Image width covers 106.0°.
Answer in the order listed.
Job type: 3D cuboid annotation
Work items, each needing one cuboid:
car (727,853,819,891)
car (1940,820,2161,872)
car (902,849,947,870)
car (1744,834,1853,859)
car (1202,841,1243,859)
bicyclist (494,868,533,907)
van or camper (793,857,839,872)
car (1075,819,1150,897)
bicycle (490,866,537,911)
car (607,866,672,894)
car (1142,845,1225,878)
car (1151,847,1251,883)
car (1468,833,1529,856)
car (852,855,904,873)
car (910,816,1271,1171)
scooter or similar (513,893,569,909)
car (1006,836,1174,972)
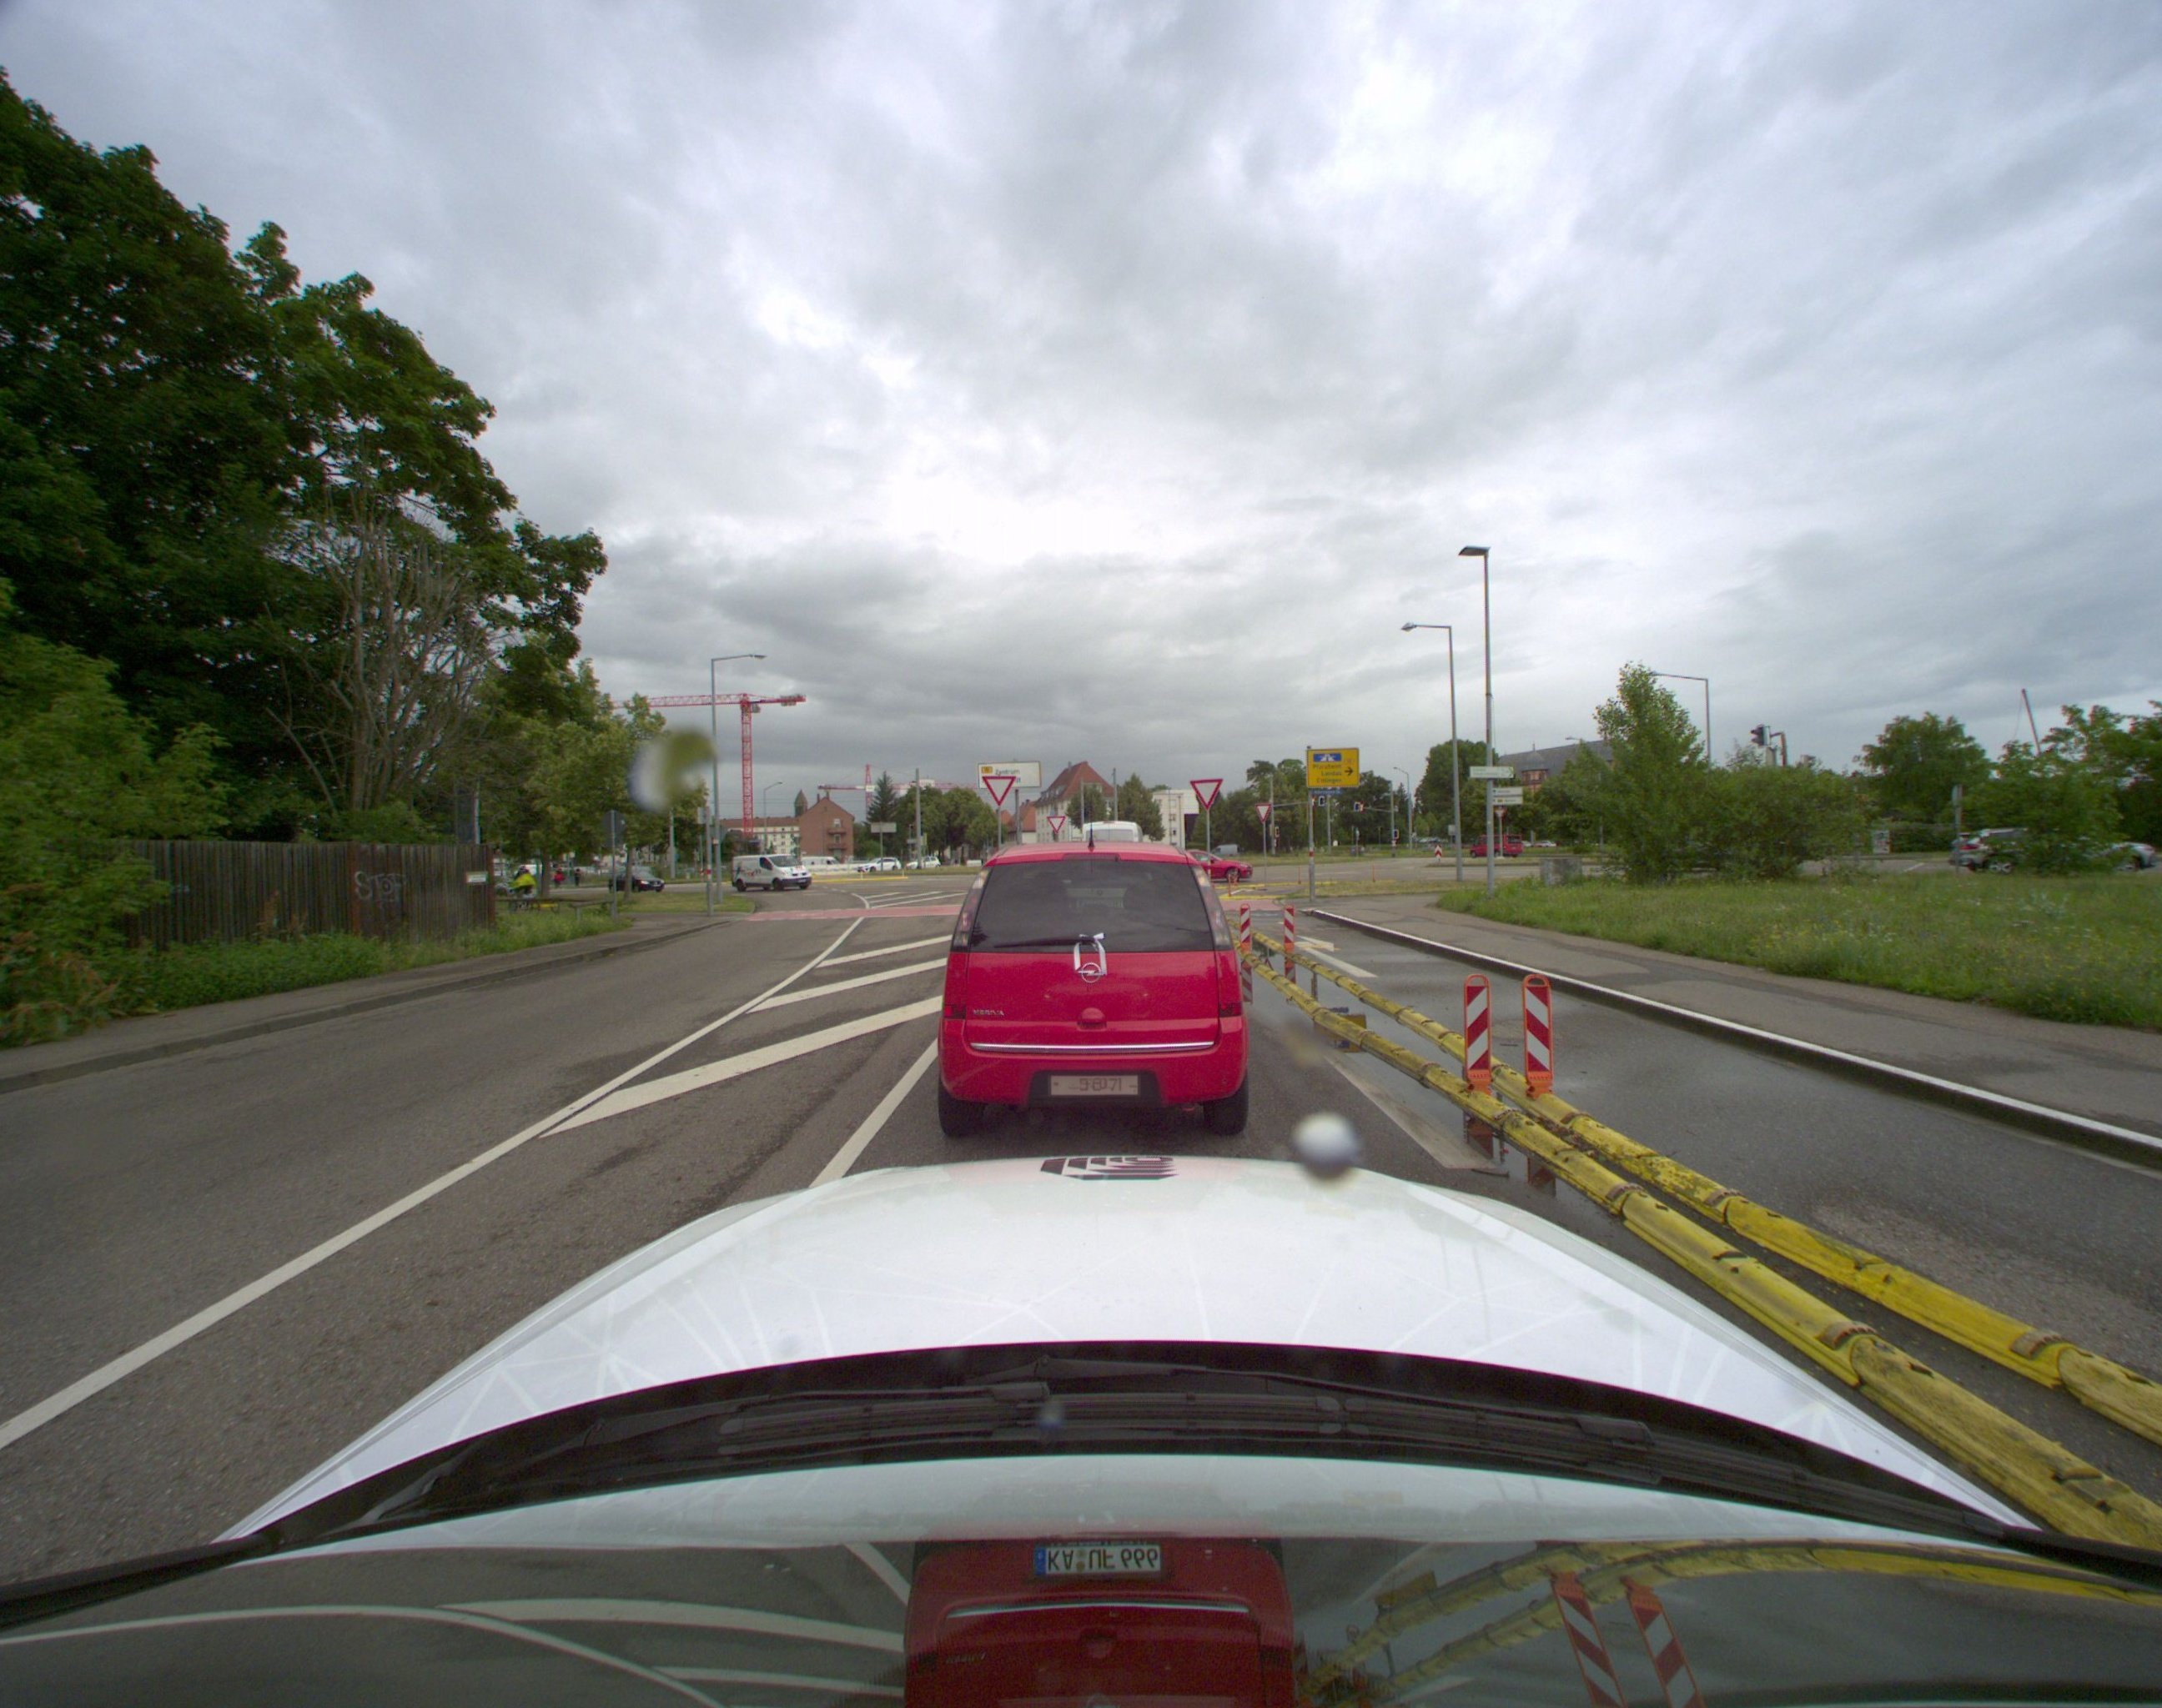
[{"bbox_3d":[-16.719,0.958,44.125,4.786,1.900,2.112,-2,0,31],"label":"car"},{"bbox_3d":[32.701,-0.247,27.674,4.473,1.583,2.013,-2,0,34],"label":"car"},{"bbox_3d":[-16.463,0.583,85.901,1.974,2.013,4.509,-2,0,37],"label":"car"},{"bbox_3d":[43.000,-0.445,48.901,2.011,1.297,4.698,-2,0,-42],"label":"car"},{"bbox_3d":[17.324,-0.458,99.945,4.420,2.013,2.013,-2,0,31],"label":"car"},{"bbox_3d":[-21.195,1.235,30.422,1.053,1.401,0.618,-2,0,18],"label":"bicyclist"},{"bbox_3d":[-39.477,1.627,121.334,6.135,2.013,2.007,-2,0,12],"label":"van or camper"},{"bbox_3d":[1.227,0.124,29.106,2.183,2.540,4.973,-1,0,7],"label":"car"},{"bbox_3d":[-21.201,1.300,30.431,1.465,1.612,0.609,-2,0,18],"label":"bicycle"},{"bbox_3d":[-28.206,1.660,51.983,4.383,1.602,2.112,-2,0,40],"label":"car"},{"bbox_3d":[5.135,0.359,40.720,3.962,1.508,2.006,-2,0,10],"label":"car"},{"bbox_3d":[5.466,0.497,36.855,4.316,1.464,2.006,-2,0,10],"label":"car"},{"bbox_3d":[36.416,-0.819,71.217,2.110,1.917,4.871,-2,0,-12],"label":"car"},{"bbox_3d":[-20.199,1.013,81.289,1.974,1.635,4.704,-2,0,42],"label":"car"},{"bbox_3d":[0.097,0.645,5.611,1.667,1.640,3.629,-1,0,2],"label":"car"},{"bbox_3d":[-19.744,1.731,29.771,1.593,0.504,0.929,-2,0,21],"label":"scooter or similar"},{"bbox_3d":[0.182,0.608,12.314,2.052,1.648,4.609,-1,0,2],"label":"car"}]
